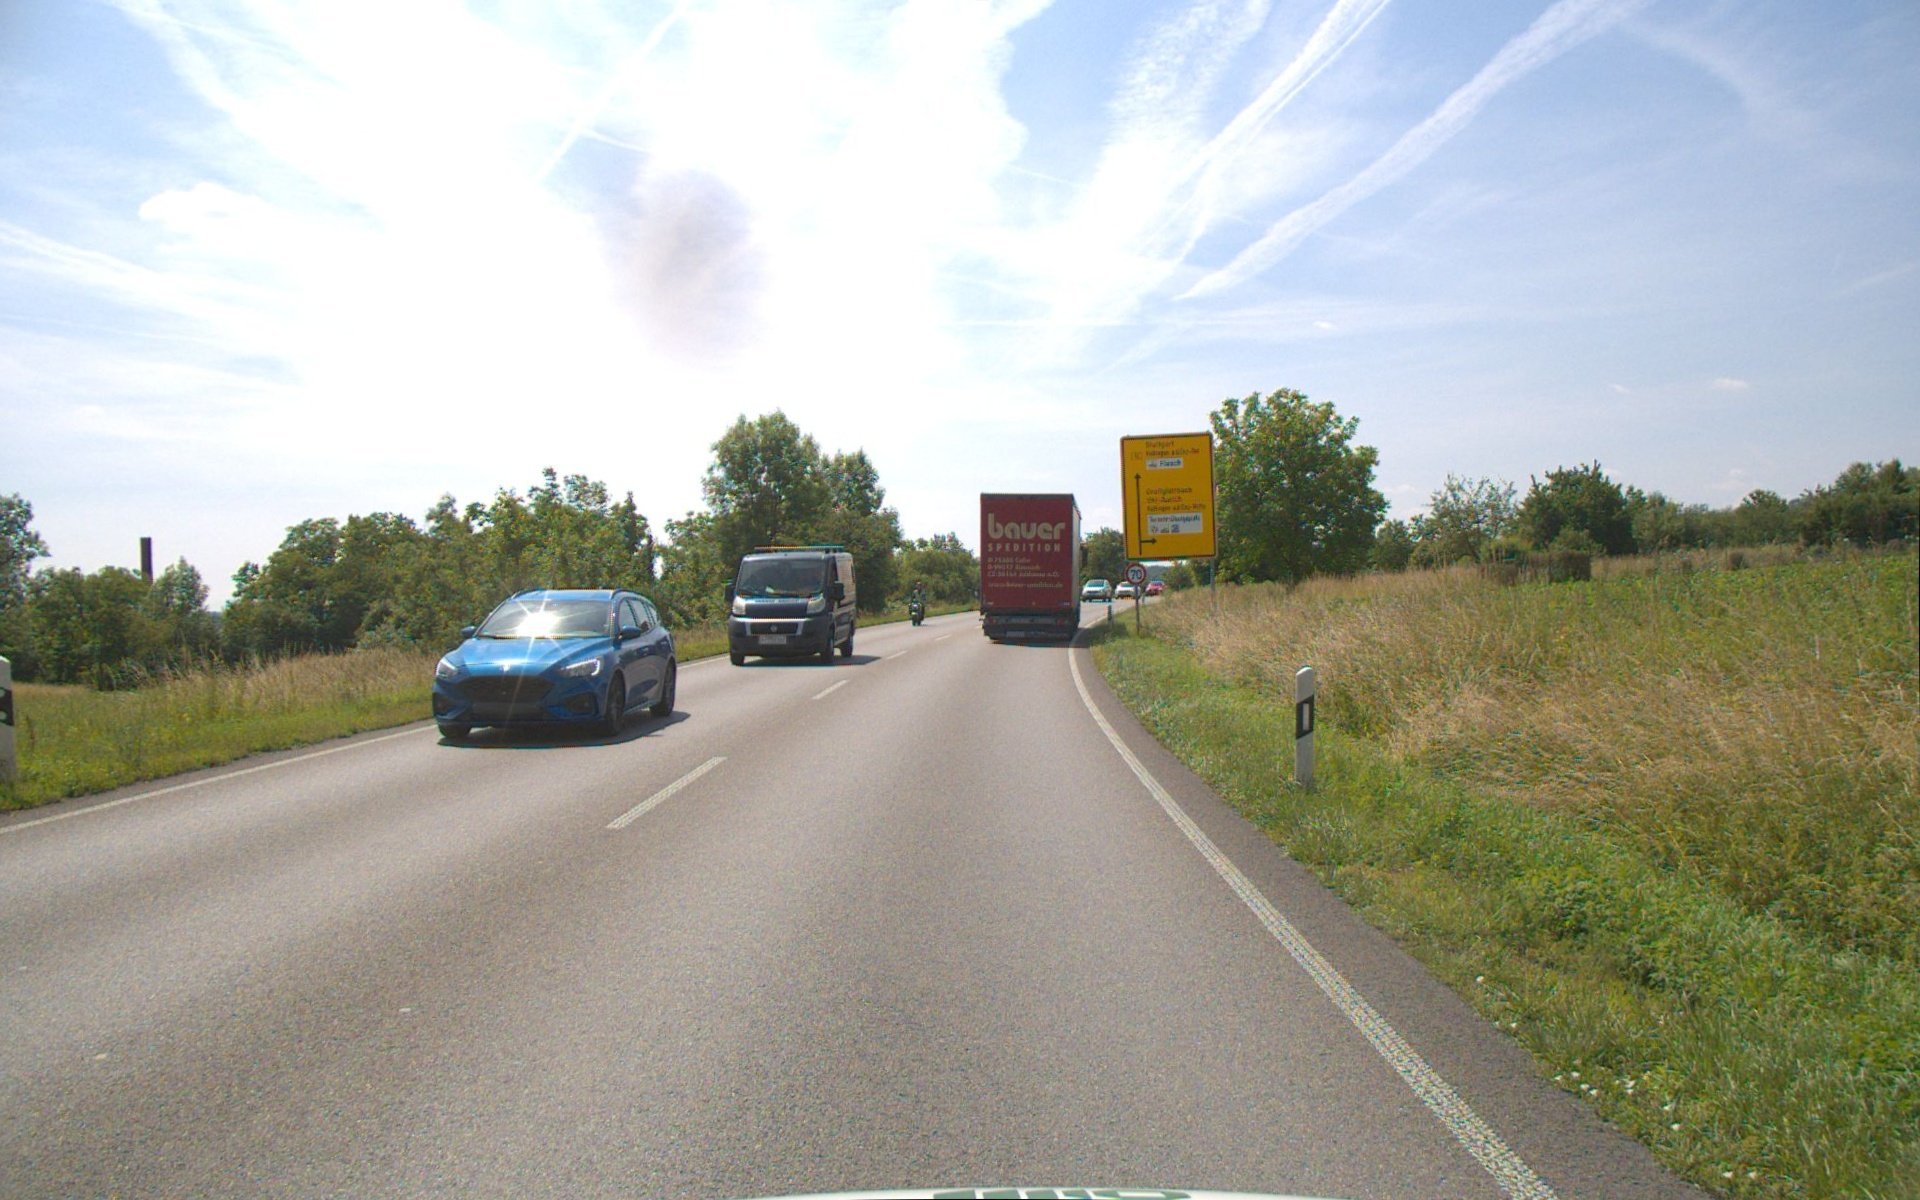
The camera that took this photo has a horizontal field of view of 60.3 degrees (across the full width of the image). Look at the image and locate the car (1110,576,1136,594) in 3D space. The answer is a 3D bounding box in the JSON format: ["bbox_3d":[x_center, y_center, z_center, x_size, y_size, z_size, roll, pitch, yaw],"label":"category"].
[{"bbox_3d":[13.822,-1.265,140.164,1.713,1.438,3.777,-1,1,12],"label":"car"}]

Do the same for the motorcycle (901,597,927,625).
[{"bbox_3d":[-1.700,0.386,61.835,0.741,1.011,2.281,0,0,4],"label":"motorcycle"}]

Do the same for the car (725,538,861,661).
[{"bbox_3d":[-3.341,-0.025,34.093,2.125,2.343,4.908,0,0,2],"label":"car"}]

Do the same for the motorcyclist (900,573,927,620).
[{"bbox_3d":[-1.727,-0.124,61.802,0.899,1.748,0.963,-1,0,4],"label":"motorcyclist"}]

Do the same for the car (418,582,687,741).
[{"bbox_3d":[-4.279,0.578,18.083,1.825,1.512,4.359,-1,0,0],"label":"car"}]

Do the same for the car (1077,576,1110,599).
[{"bbox_3d":[10.091,-0.947,124.749,1.794,1.645,4.366,0,0,15],"label":"car"}]

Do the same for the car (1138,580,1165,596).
[{"bbox_3d":[18.010,-1.114,155.387,1.782,1.422,4.185,0,0,16],"label":"car"}]

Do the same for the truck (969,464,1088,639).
[{"bbox_3d":[2.165,-1.285,49.871,3.047,4.584,12.172,1,0,3],"label":"truck"}]
